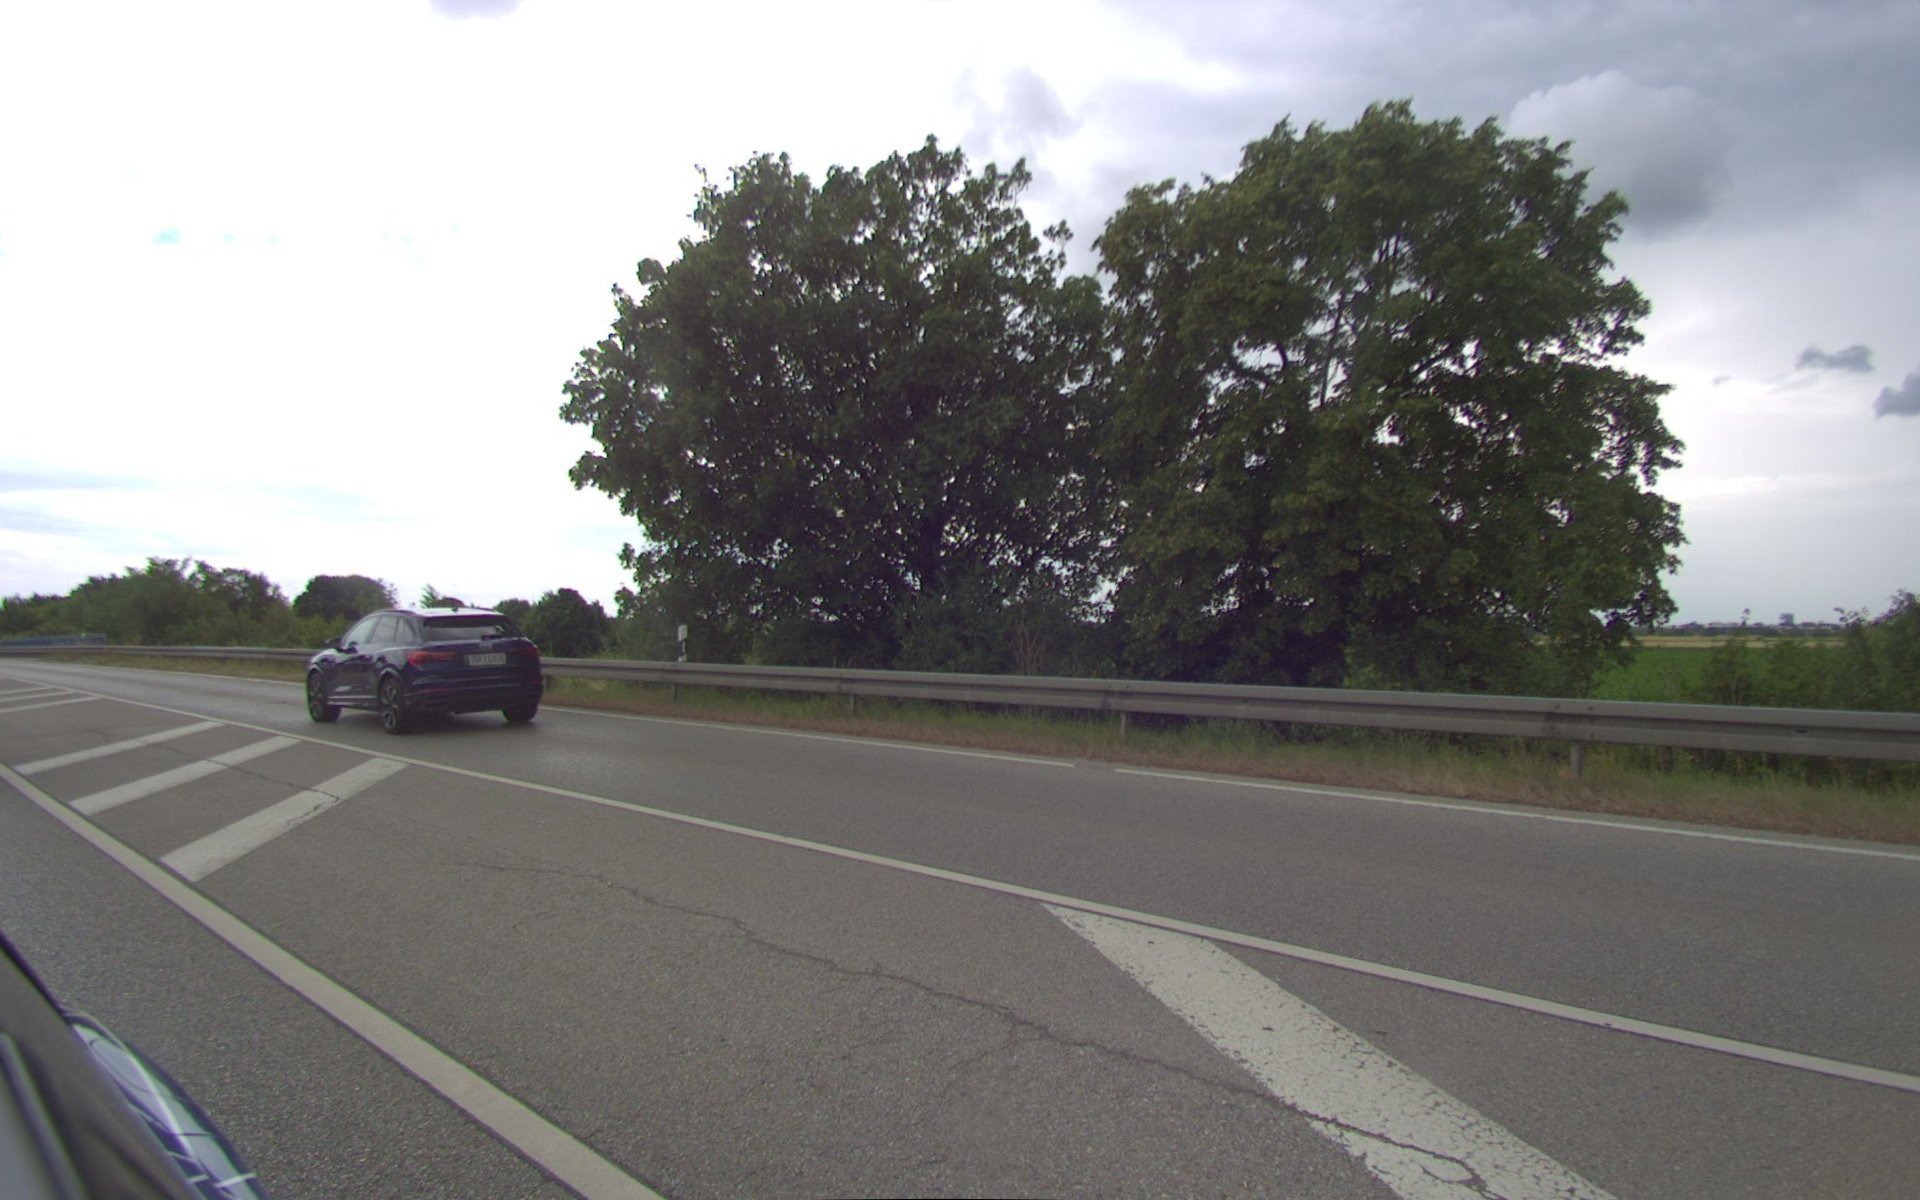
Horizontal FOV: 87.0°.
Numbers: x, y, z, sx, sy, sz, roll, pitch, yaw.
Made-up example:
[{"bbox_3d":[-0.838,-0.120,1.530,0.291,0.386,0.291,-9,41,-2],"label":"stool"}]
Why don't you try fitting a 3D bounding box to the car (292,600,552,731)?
[{"bbox_3d":[-7.510,0.827,13.964,4.205,1.530,1.693,-2,-1,40],"label":"car"}]
